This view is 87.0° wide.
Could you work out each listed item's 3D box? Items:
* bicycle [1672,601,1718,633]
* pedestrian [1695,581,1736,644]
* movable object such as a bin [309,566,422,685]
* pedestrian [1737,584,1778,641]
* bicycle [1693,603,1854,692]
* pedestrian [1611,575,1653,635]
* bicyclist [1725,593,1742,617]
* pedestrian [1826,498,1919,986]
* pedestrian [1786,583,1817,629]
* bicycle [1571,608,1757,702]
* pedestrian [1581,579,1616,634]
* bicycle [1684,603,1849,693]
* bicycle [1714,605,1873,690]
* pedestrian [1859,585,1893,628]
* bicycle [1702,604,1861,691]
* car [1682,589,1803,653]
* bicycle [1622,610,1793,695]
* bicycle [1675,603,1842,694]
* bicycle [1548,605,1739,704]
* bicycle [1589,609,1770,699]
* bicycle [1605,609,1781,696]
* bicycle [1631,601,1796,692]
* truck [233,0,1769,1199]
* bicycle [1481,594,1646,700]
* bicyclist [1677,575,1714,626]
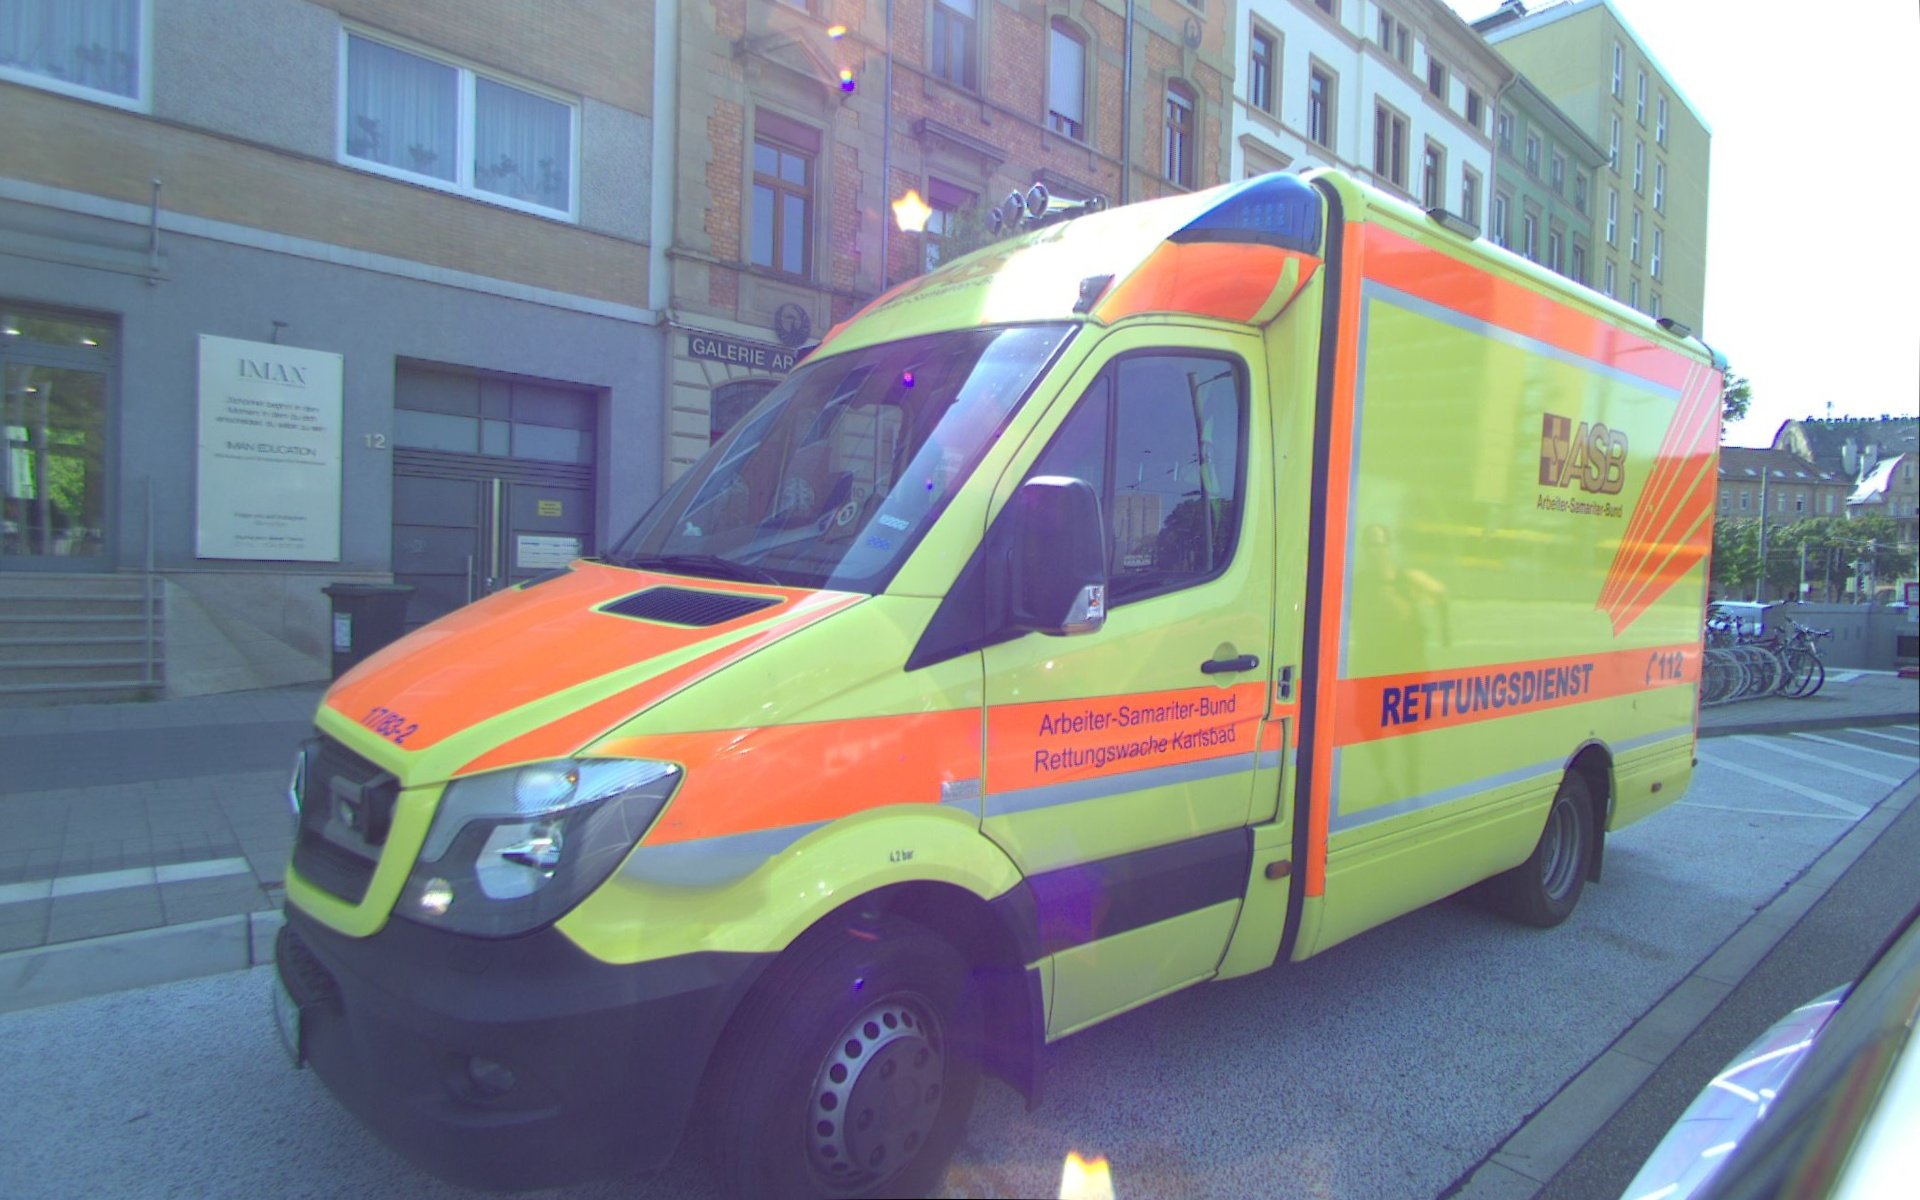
[{"bbox_3d":[23.803,0.542,32.763,1.965,0.965,0.720,1,1,-40],"label":"bicycle"},{"bbox_3d":[21.948,0.355,29.409,0.781,1.780,0.689,1,2,-36],"label":"pedestrian"},{"bbox_3d":[-5.973,0.237,10.190,0.640,1.118,0.723,4,2,24],"label":"movable object such as a bin"},{"bbox_3d":[23.886,0.379,30.312,0.781,1.648,0.647,1,2,-31],"label":"pedestrian"},{"bbox_3d":[12.128,0.670,15.143,0.427,1.235,1.841,1,0,-40],"label":"bicycle"},{"bbox_3d":[20.301,0.132,30.577,0.866,1.755,0.771,1,2,-40],"label":"pedestrian"},{"bbox_3d":[61.460,0.387,80.409,0.650,1.926,0.860,0,0,-7],"label":"bicyclist"},{"bbox_3d":[4.116,0.525,3.746,1.214,1.763,0.968,1,0,-27],"label":"pedestrian"},{"bbox_3d":[31.215,0.227,37.523,0.782,1.648,0.646,1,2,-37],"label":"pedestrian"},{"bbox_3d":[8.920,0.654,12.883,0.646,1.074,1.841,1,0,-40],"label":"bicycle"},{"bbox_3d":[19.668,0.194,31.163,0.783,1.648,0.645,1,2,-41],"label":"pedestrian"},{"bbox_3d":[11.785,0.671,14.847,0.427,1.219,1.841,1,0,-40],"label":"bicycle"},{"bbox_3d":[12.968,0.700,15.790,0.626,1.219,1.841,1,0,-40],"label":"bicycle"},{"bbox_3d":[35.705,0.252,39.441,0.780,1.648,0.647,1,2,-25],"label":"pedestrian"},{"bbox_3d":[12.493,0.690,15.439,0.427,1.219,1.841,1,0,-40],"label":"bicycle"},{"bbox_3d":[20.612,0.508,26.610,3.864,1.444,1.666,0,4,-40],"label":"car"},{"bbox_3d":[10.447,0.703,14.204,0.646,1.070,1.841,1,0,-40],"label":"bicycle"},{"bbox_3d":[11.451,0.659,14.577,0.427,1.219,1.841,1,0,-40],"label":"bicycle"},{"bbox_3d":[8.275,0.617,12.316,0.686,1.089,1.806,1,0,-41],"label":"bicycle"},{"bbox_3d":[9.436,0.668,13.335,0.646,1.066,1.841,1,0,-40],"label":"bicycle"},{"bbox_3d":[9.927,0.676,13.769,0.646,1.074,1.841,1,0,-40],"label":"bicycle"},{"bbox_3d":[10.864,0.632,14.653,0.539,1.219,1.841,1,0,-40],"label":"bicycle"},{"bbox_3d":[0.894,-0.140,4.168,6.223,2.803,2.335,0,4,-38],"label":"truck"},{"bbox_3d":[7.394,0.532,12.451,0.678,1.199,1.607,1,0,-39],"label":"bicycle"},{"bbox_3d":[23.807,0.018,32.756,1.083,1.606,0.720,1,1,-40],"label":"bicyclist"}]
